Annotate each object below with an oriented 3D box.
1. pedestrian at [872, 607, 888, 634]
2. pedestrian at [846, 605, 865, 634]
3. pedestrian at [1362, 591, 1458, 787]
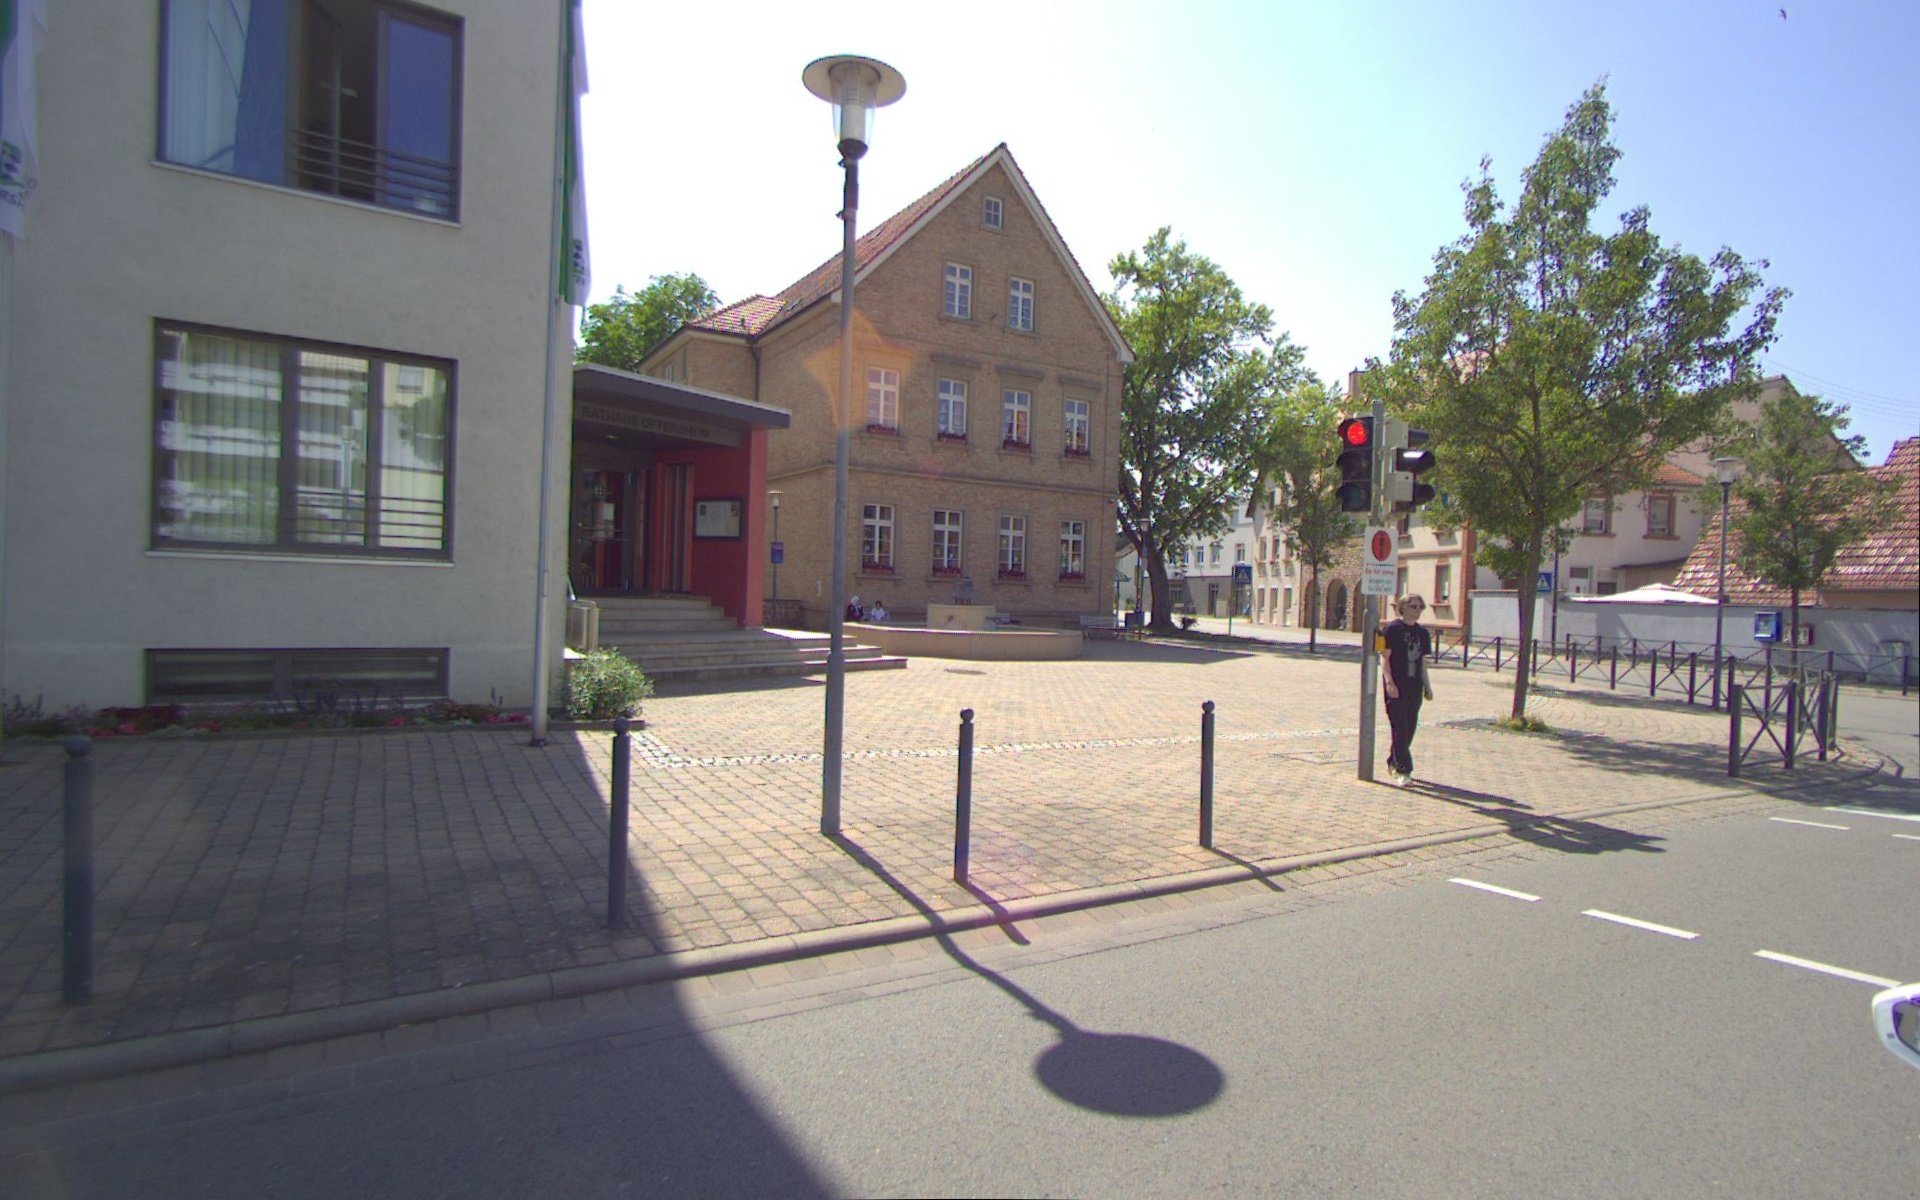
[{"bbox_3d":[-2.294,0.588,28.890,0.352,0.742,0.288,2,0,43],"label":"pedestrian"},{"bbox_3d":[-2.948,0.553,28.395,0.356,0.828,0.365,2,0,42],"label":"pedestrian"},{"bbox_3d":[3.940,0.757,8.828,0.546,1.640,0.550,3,0,6],"label":"pedestrian"}]
